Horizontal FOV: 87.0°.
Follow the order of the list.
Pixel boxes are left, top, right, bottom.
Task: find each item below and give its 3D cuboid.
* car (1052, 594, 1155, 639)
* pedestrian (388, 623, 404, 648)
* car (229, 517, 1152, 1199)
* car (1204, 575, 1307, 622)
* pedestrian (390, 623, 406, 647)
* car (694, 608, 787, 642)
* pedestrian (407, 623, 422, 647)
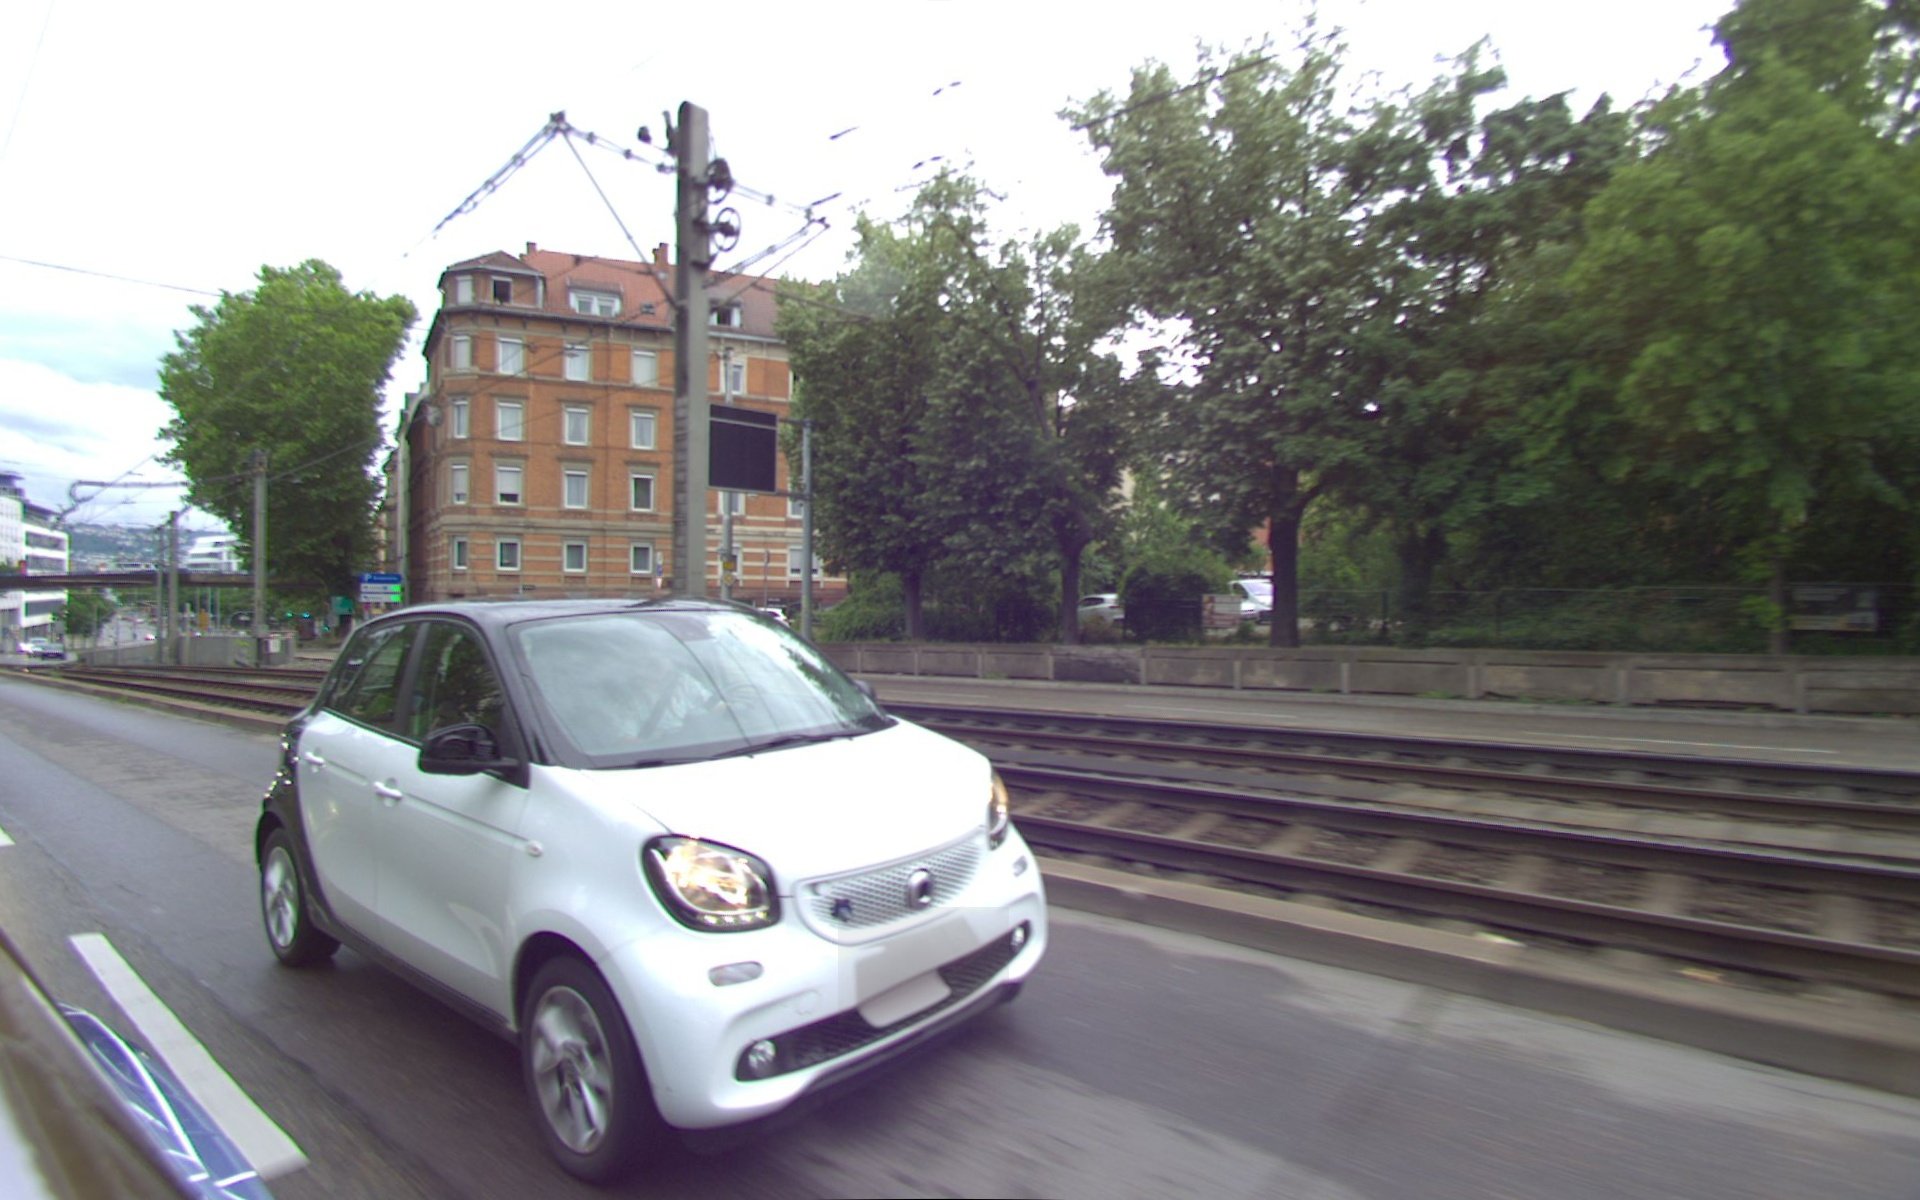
[{"bbox_3d":[5.623,0.647,40.120,1.966,1.634,4.012,-2,0,-30],"label":"car"},{"bbox_3d":[-31.944,1.992,57.278,0.538,1.364,0.612,-2,0,41],"label":"pedestrian"},{"bbox_3d":[-1.318,0.654,3.895,3.720,1.542,1.658,-2,-2,42],"label":"car"},{"bbox_3d":[12.730,-0.045,43.866,1.966,1.922,4.012,-2,0,-30],"label":"car"},{"bbox_3d":[-32.148,2.013,57.906,0.538,1.364,0.612,-2,0,41],"label":"pedestrian"},{"bbox_3d":[-11.328,1.289,52.345,4.361,1.610,1.847,-1,-1,-27],"label":"car"},{"bbox_3d":[-31.263,1.995,57.980,0.538,1.364,0.611,-2,-1,42],"label":"pedestrian"}]
